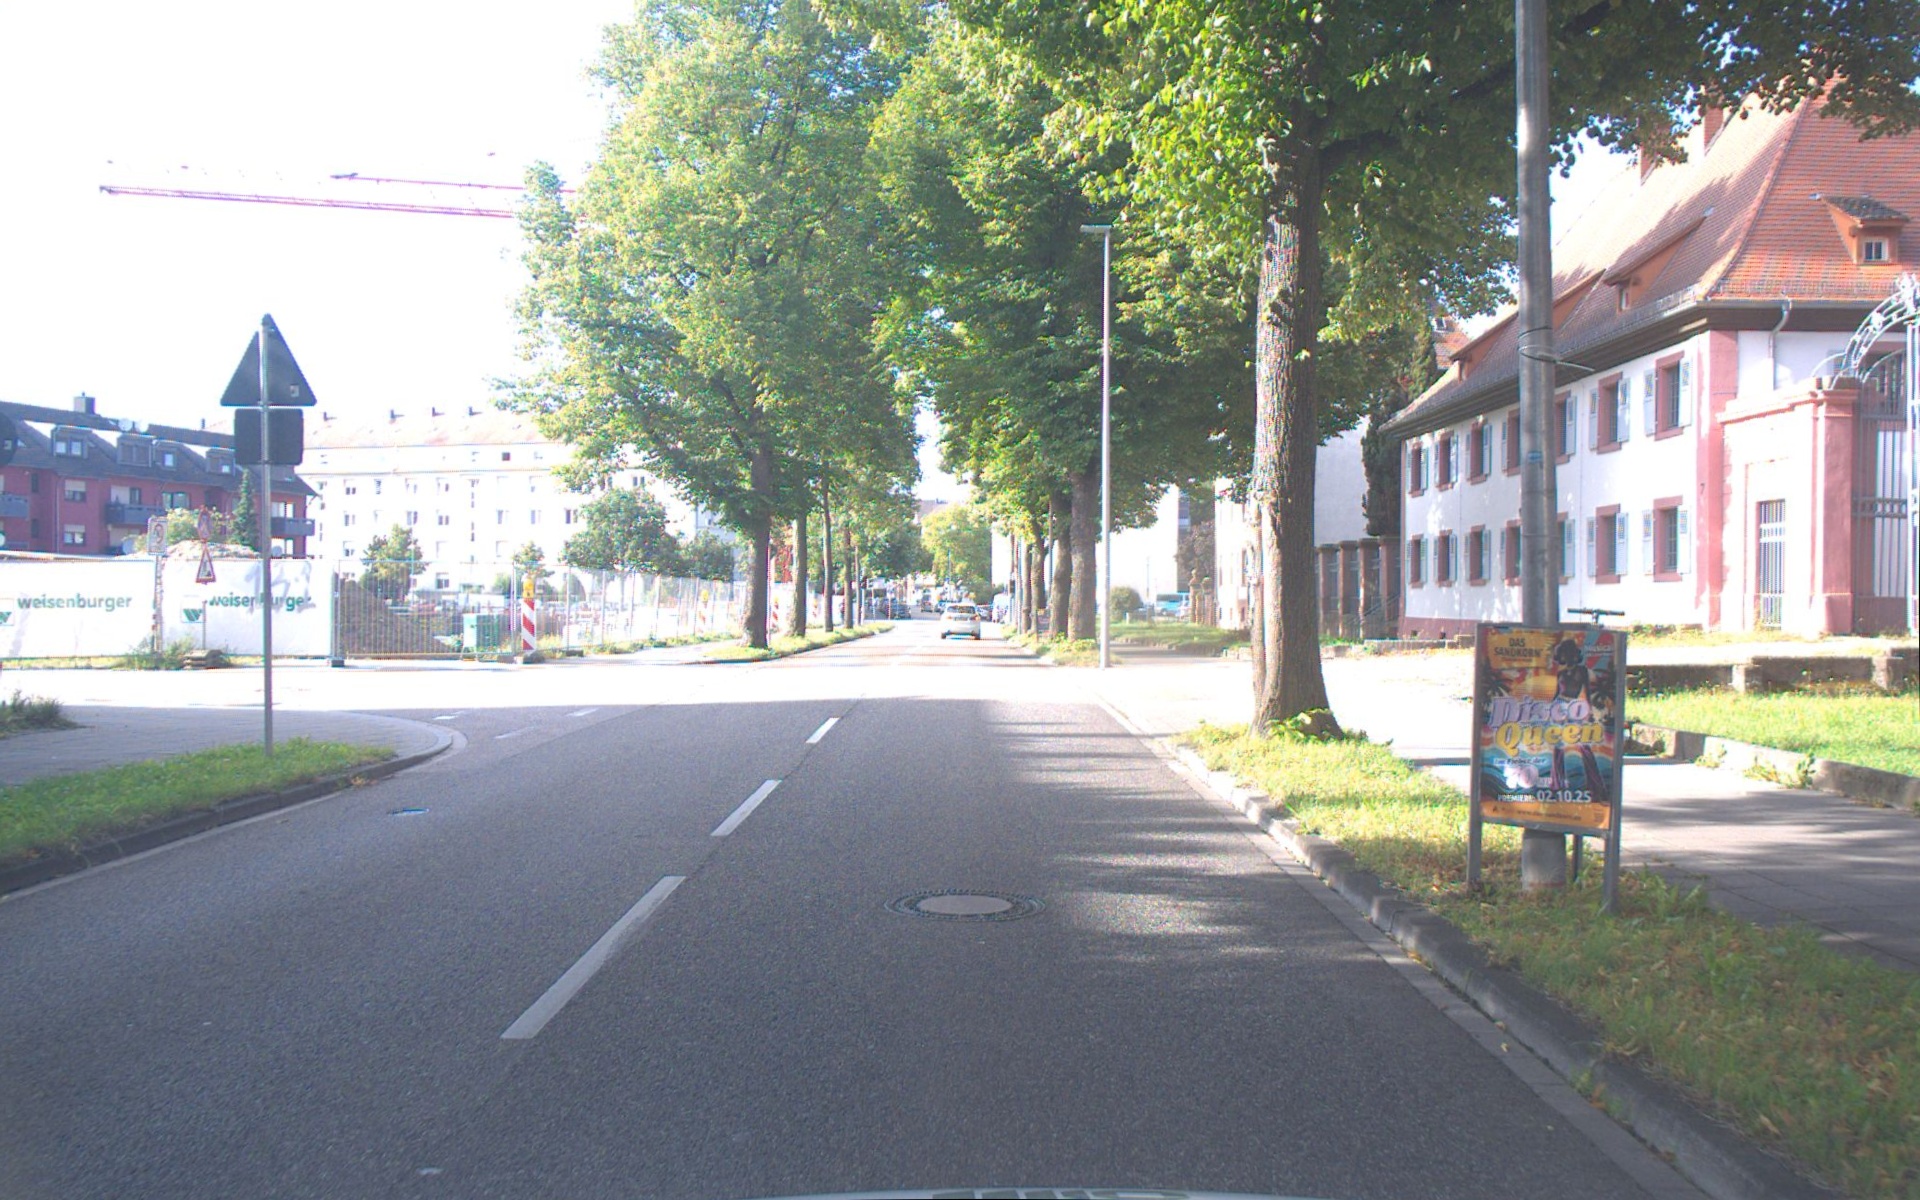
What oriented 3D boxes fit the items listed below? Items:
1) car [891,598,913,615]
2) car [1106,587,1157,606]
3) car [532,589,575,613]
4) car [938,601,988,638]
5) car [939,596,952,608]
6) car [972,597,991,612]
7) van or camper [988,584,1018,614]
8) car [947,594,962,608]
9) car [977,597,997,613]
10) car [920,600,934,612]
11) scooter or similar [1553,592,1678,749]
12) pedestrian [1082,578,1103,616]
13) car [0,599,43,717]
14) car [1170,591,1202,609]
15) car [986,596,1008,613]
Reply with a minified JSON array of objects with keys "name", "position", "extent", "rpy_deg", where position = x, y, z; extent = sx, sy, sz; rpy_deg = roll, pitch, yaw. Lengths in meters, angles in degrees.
[{"name":"car","position":[-5.803,0.621,164.866],"extent":[1.955,1.668,3.995],"rpy_deg":[-1,0,-6]},{"name":"car","position":[14.914,-0.313,143.969],"extent":[4.355,1.650,2.001],"rpy_deg":[-1,0,3]},{"name":"car","position":[-35.326,0.116,143.755],"extent":[1.951,2.049,4.003],"rpy_deg":[0,0,15]},{"name":"car","position":[0.104,0.866,74.248],"extent":[1.954,1.582,4.271],"rpy_deg":[1,0,-3]},{"name":"car","position":[-2.287,0.272,256.927],"extent":[1.952,1.786,4.000],"rpy_deg":[1,0,0]},{"name":"car","position":[2.308,0.519,178.087],"extent":[1.953,1.557,3.999],"rpy_deg":[-1,0,-1]},{"name":"van or camper","position":[3.816,-0.082,148.543],"extent":[2.166,2.653,5.367],"rpy_deg":[-1,0,-4]},{"name":"car","position":[-0.698,0.157,223.030],"extent":[1.952,1.786,4.000],"rpy_deg":[1,0,0]},{"name":"car","position":[2.743,0.506,170.025],"extent":[1.953,1.601,3.999],"rpy_deg":[-1,0,-1]},{"name":"car","position":[-4.937,0.959,250.154],"extent":[1.952,1.786,4.000],"rpy_deg":[1,0,0]},{"name":"scooter or similar","position":[5.839,0.599,14.809],"extent":[0.567,1.314,1.382],"rpy_deg":[-2,0,1]},{"name":"pedestrian","position":[5.902,-0.132,73.606],"extent":[0.797,1.618,0.769],"rpy_deg":[-2,0,-1]},{"name":"car","position":[-12.797,0.695,18.928],"extent":[1.952,1.454,4.508],"rpy_deg":[0,-1,2]},{"name":"car","position":[18.780,0.017,137.779],"extent":[1.954,1.467,3.998],"rpy_deg":[-1,0,-3]},{"name":"car","position":[3.543,0.403,159.487],"extent":[1.953,1.601,3.999],"rpy_deg":[-1,0,-1]}]
